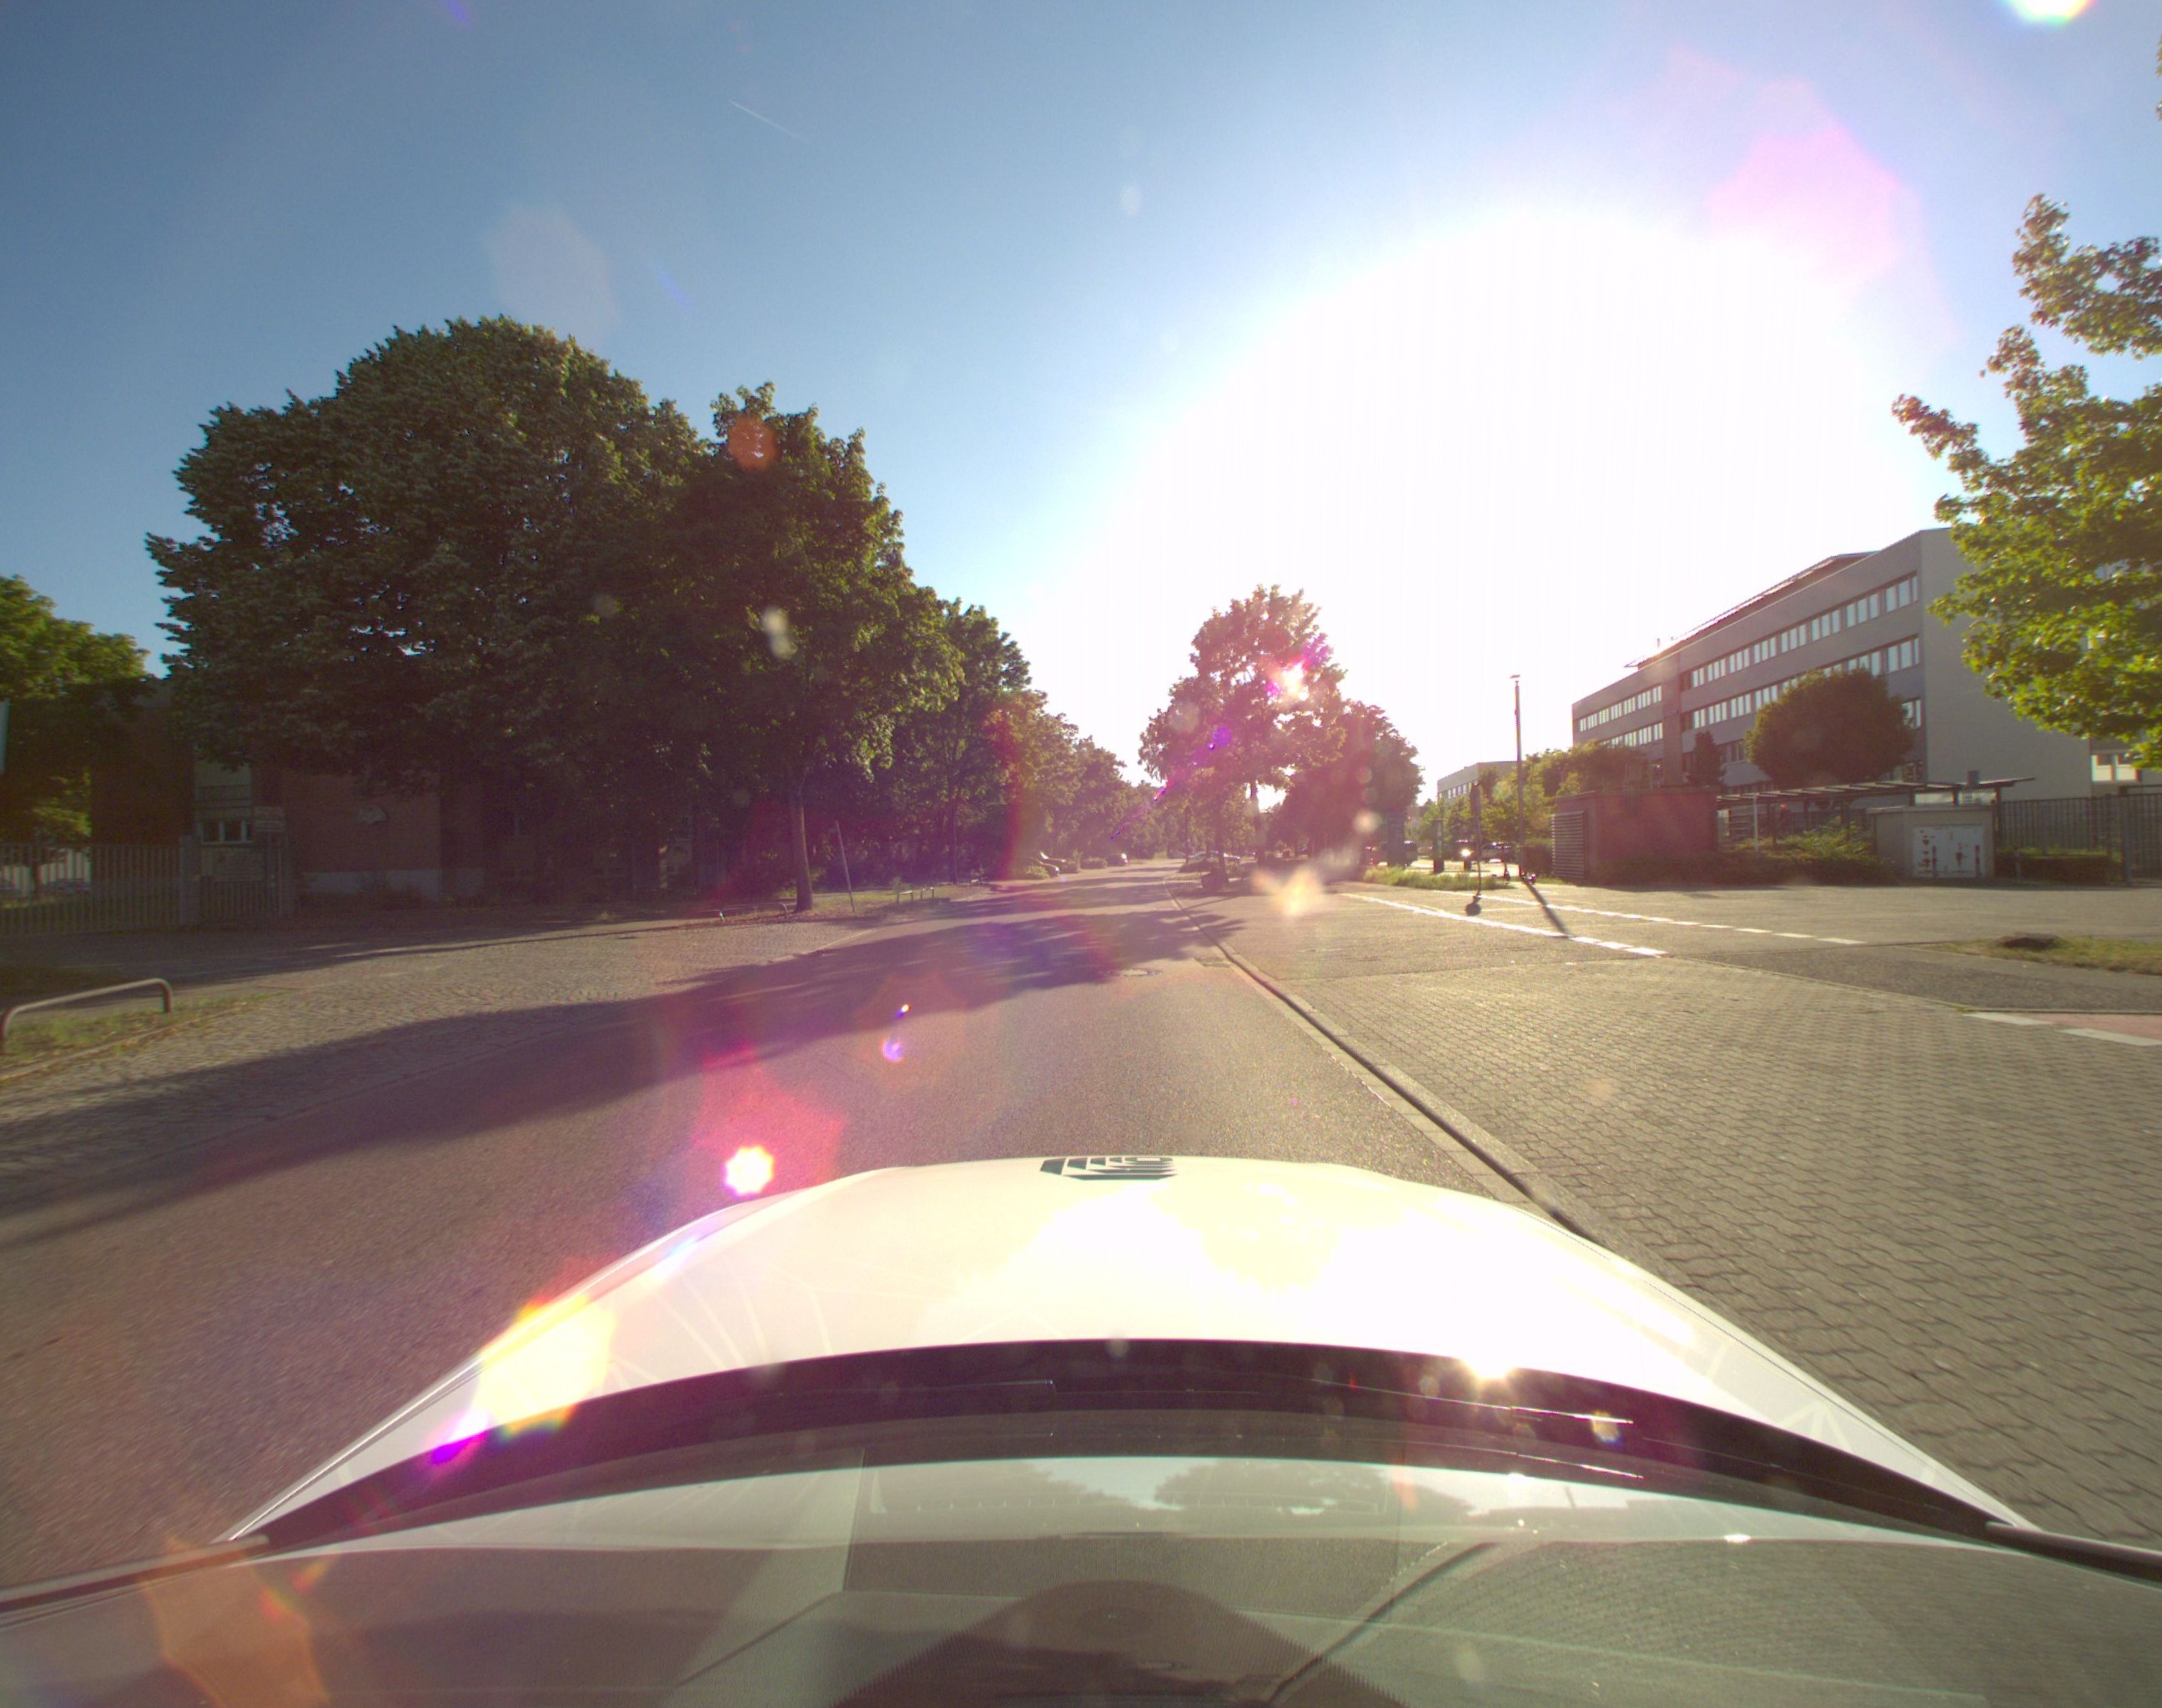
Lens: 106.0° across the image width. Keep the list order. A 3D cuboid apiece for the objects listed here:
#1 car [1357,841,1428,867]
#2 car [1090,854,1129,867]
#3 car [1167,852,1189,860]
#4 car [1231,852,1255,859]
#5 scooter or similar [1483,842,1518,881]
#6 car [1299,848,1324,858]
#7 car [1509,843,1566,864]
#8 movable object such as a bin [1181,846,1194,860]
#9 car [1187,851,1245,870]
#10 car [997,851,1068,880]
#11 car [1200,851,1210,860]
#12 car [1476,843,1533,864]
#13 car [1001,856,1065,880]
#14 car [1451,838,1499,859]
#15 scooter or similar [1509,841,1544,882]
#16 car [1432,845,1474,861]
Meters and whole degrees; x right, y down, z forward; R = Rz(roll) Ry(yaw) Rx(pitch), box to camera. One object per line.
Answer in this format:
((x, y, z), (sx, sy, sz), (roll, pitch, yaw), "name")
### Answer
((24.172, -0.005, 63.354), (2.008, 1.933, 4.903), (-1, 1, -33), "car")
((3.416, 0.766, 97.899), (4.331, 1.479, 2.006), (-2, 0, 10), "car")
((20.192, 0.359, 169.793), (4.327, 1.547, 2.008), (0, 0, 14), "car")
((35.056, 0.244, 176.173), (4.807, 1.479, 2.008), (0, 0, 14), "car")
((14.080, 0.237, 27.391), (0.517, 1.272, 1.389), (-2, 0, 5), "scooter or similar")
((42.065, -0.232, 148.757), (4.400, 1.706, 2.066), (0, 0, 12), "car")
((32.451, -0.043, 57.889), (4.013, 1.354, 1.789), (-1, 0, -31), "car")
((23.870, -0.295, 182.022), (2.821, 3.068, 4.940), (0, 0, 9), "movable object such as a bin")
((12.505, 0.583, 75.533), (5.146, 1.574, 2.162), (-2, 0, 7), "car")
((-3.603, 0.834, 61.128), (4.979, 2.020, 2.178), (-2, 0, 6), "car")
((35.070, 0.334, 230.491), (2.503, 2.386, 4.381), (-2, 0, 7), "car")
((33.542, -0.063, 64.463), (4.322, 1.529, 1.791), (-1, 0, -27), "car")
((-3.354, 0.999, 57.439), (4.190, 1.530, 1.708), (-2, 0, 6), "car")
((36.086, -0.525, 74.556), (4.511, 1.750, 1.750), (-2, 0, -32), "car")
((14.217, 0.233, 26.026), (0.517, 1.272, 1.202), (-2, 0, 5), "scooter or similar")
((38.752, -0.079, 84.850), (4.316, 1.527, 1.751), (-2, 0, -29), "car")
